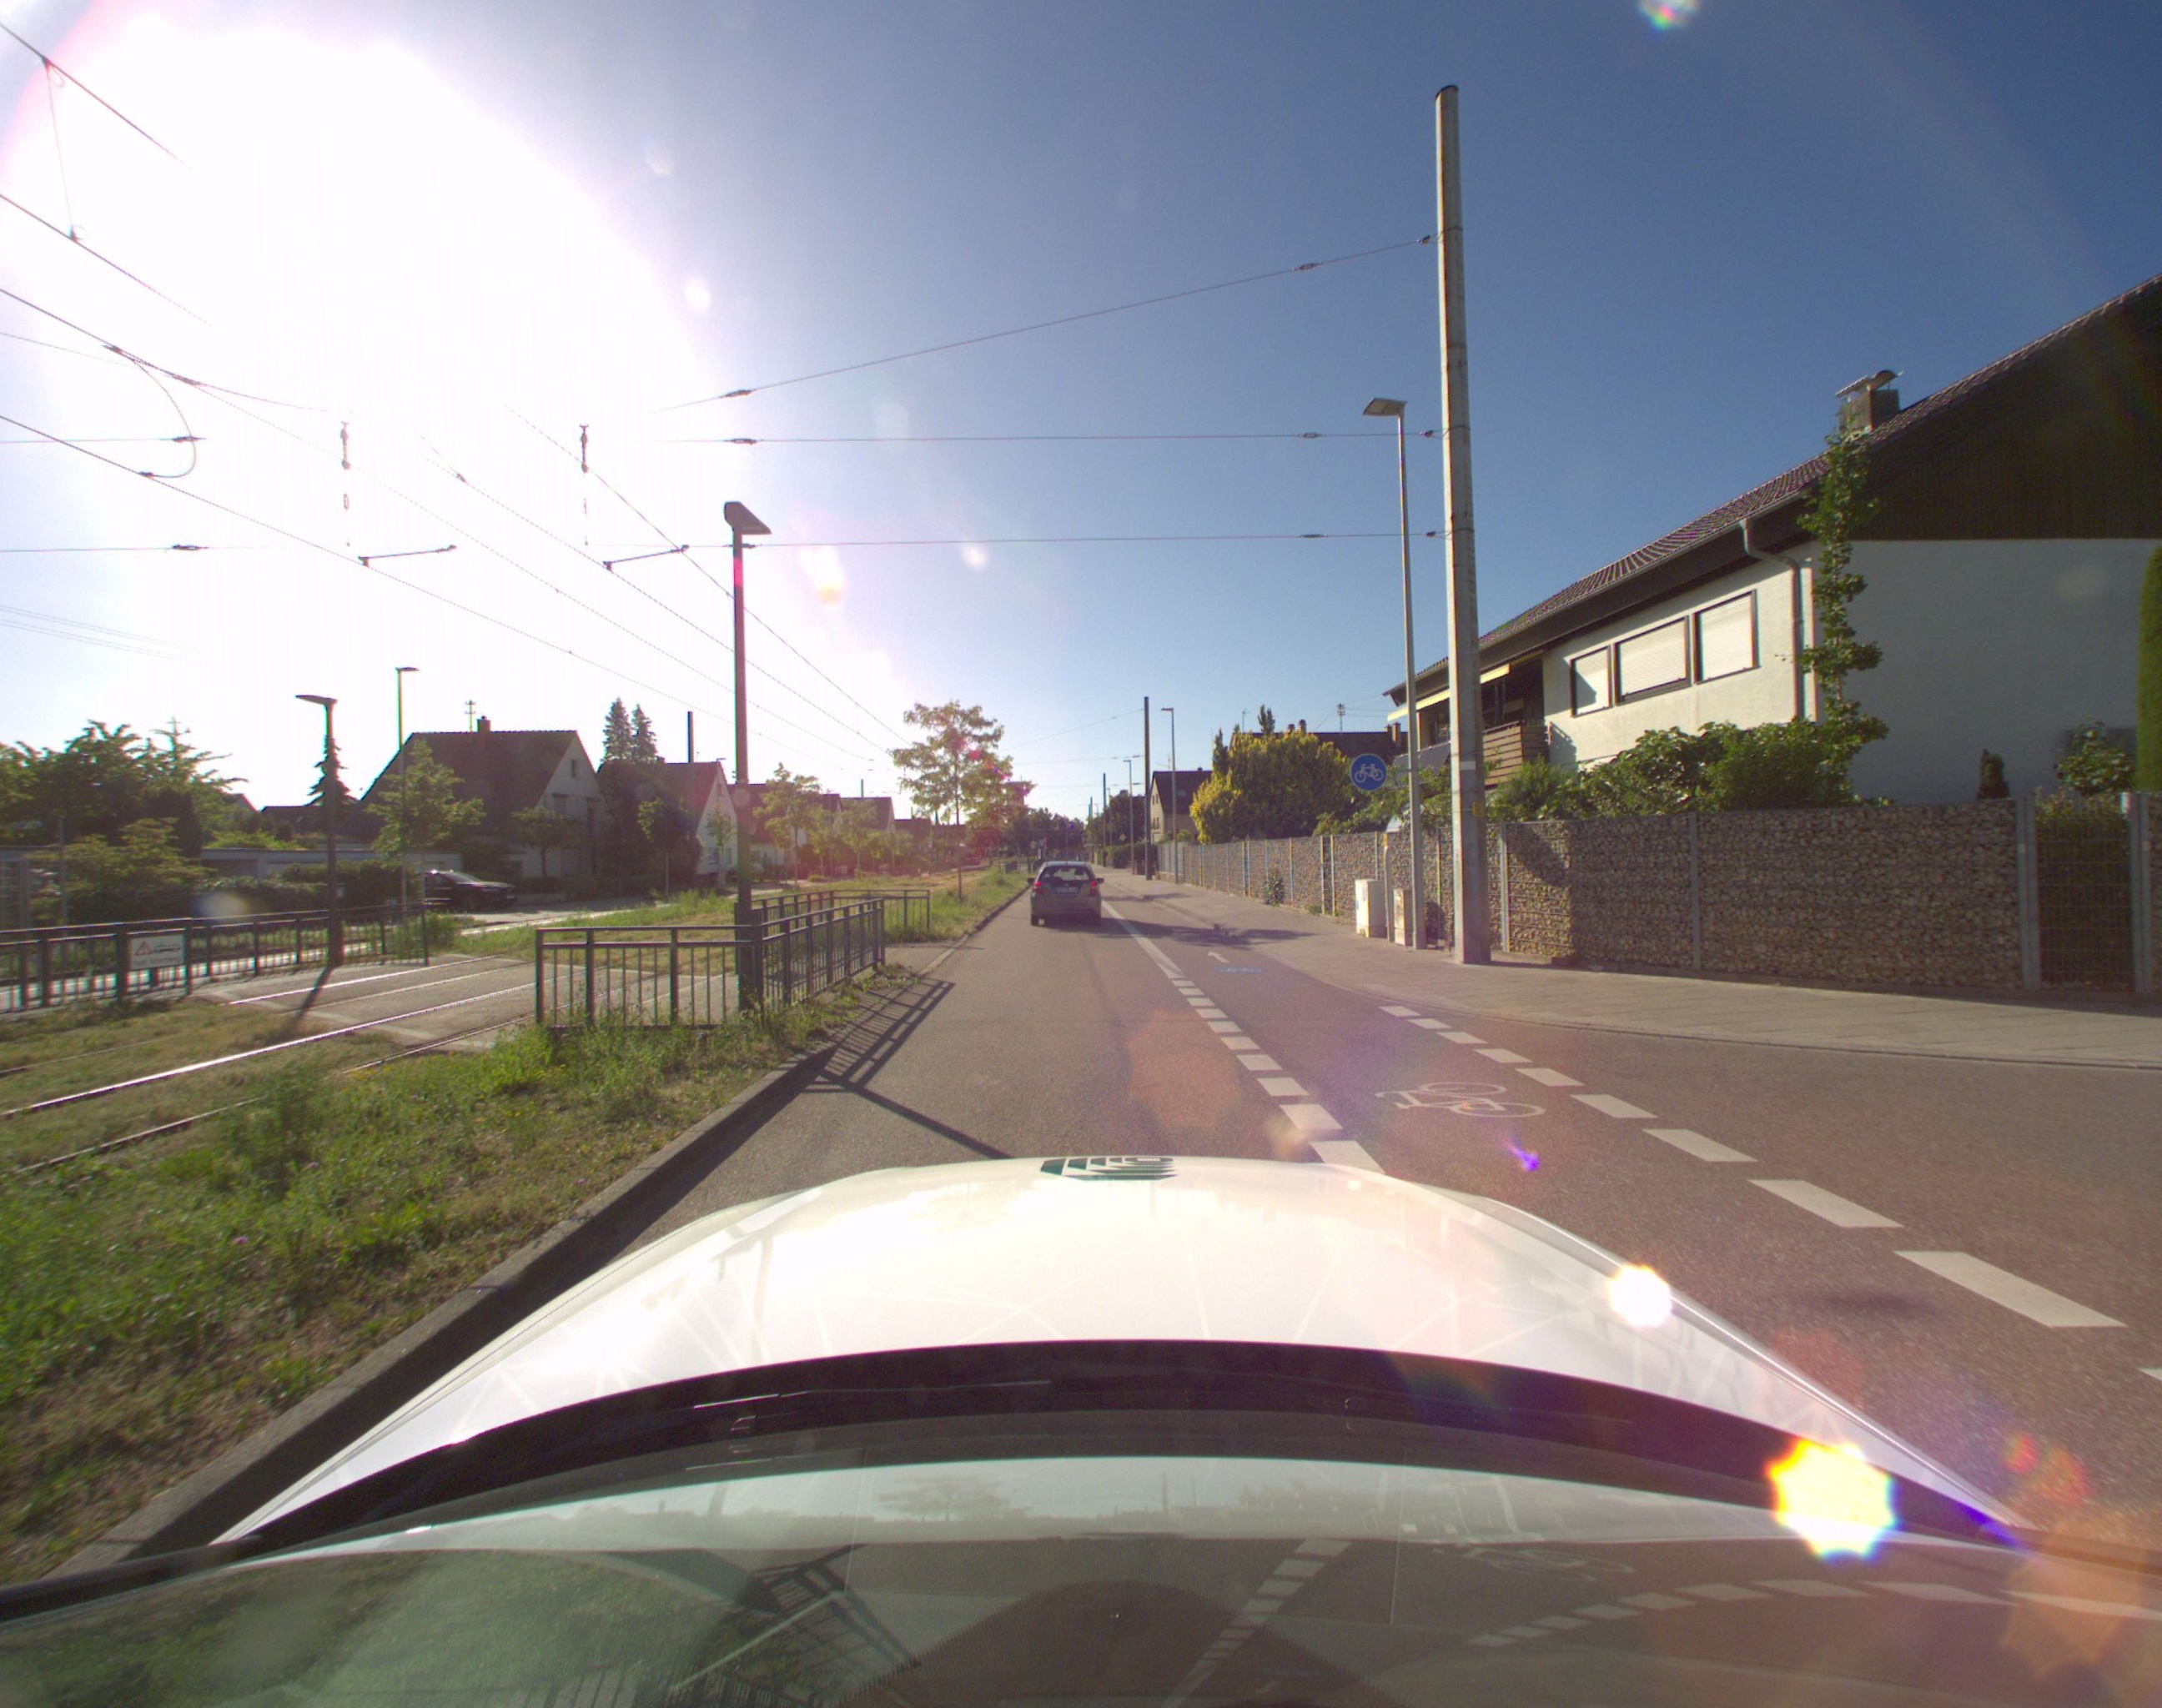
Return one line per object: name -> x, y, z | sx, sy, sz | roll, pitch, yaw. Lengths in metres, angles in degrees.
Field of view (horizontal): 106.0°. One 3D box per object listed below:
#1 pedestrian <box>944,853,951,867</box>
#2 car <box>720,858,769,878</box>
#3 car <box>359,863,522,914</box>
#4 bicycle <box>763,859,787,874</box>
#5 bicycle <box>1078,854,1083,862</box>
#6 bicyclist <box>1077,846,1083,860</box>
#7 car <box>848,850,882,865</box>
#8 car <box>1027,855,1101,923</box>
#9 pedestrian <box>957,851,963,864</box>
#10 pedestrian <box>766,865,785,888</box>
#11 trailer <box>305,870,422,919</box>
pedestrian -> -15.444, 0.706, 94.002 | 0.674, 1.535, 0.747 | -2, 0, -6
car -> -27.278, 1.122, 66.254 | 1.929, 1.450, 5.159 | -2, 0, -2
car -> -25.139, 1.307, 32.173 | 4.546, 1.734, 2.043 | -2, 0, -14
bicycle -> -29.252, 1.204, 77.848 | 1.988, 1.365, 0.703 | -2, 0, -9
bicycle -> -0.062, 0.432, 96.787 | 0.474, 0.961, 1.656 | 0, 0, -1
bicyclist -> -0.127, -0.093, 96.571 | 0.597, 1.701, 0.683 | 0, -1, -2
car -> -27.216, 0.446, 102.808 | 3.986, 1.970, 1.927 | 0, 0, -10
car -> -0.349, 0.799, 20.367 | 1.664, 1.535, 3.488 | 0, 0, 1
pedestrian -> -15.379, 0.421, 103.615 | 0.499, 1.696, 0.771 | -4, 0, -1
pedestrian -> -22.475, 1.651, 59.858 | 0.962, 1.640, 1.085 | -2, 0, -2
trailer -> -26.342, 1.473, 29.959 | 2.908, 1.647, 1.396 | -2, 0, -5
